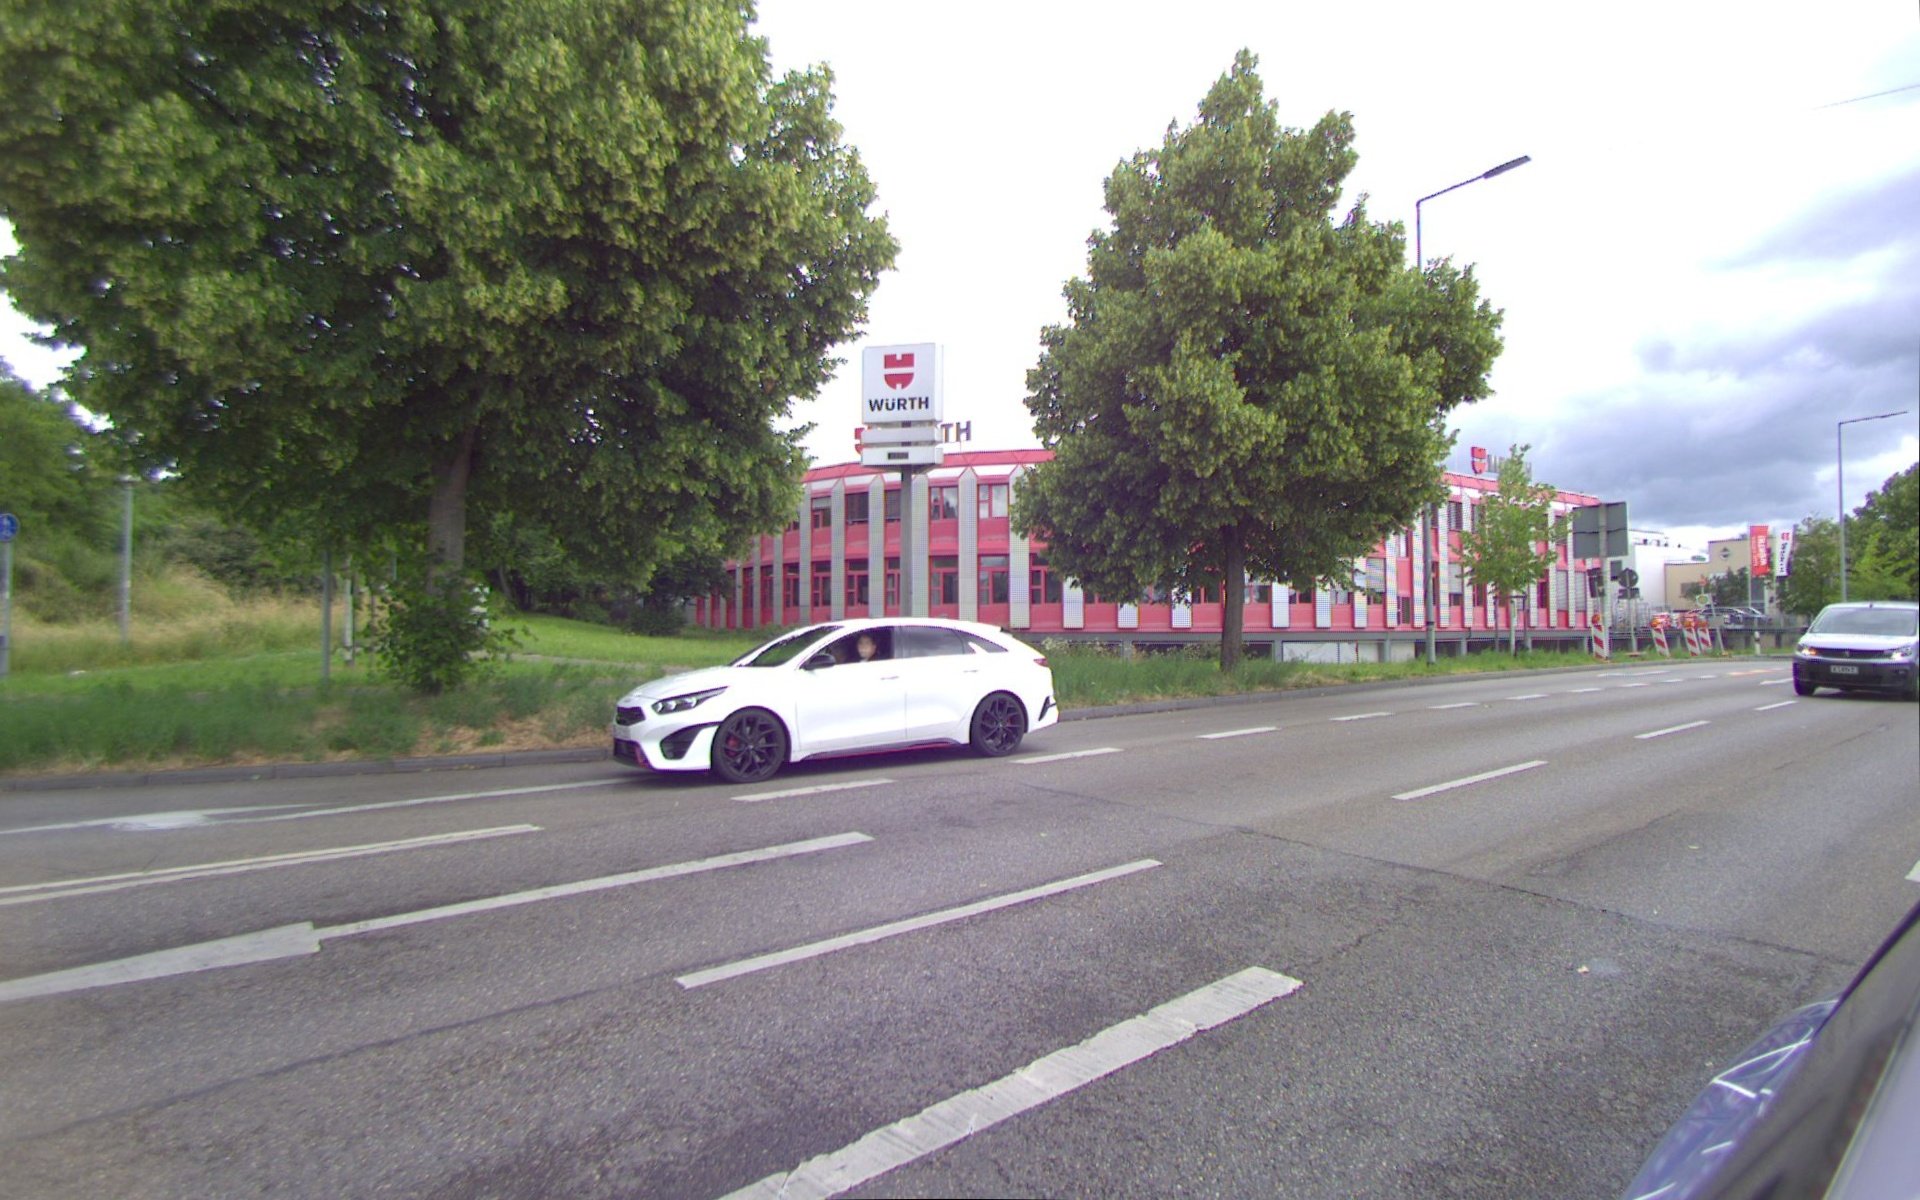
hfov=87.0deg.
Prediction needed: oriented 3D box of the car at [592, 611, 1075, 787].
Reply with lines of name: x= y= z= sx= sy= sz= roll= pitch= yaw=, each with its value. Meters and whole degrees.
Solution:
car: x=-1.122 y=0.800 z=9.936 sx=4.393 sy=1.380 sz=1.786 roll=1 pitch=-1 yaw=-34

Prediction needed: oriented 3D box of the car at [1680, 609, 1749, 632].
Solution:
car: x=61.804 y=1.690 z=82.962 sx=1.752 sy=1.776 sz=4.247 roll=0 pitch=0 yaw=-39

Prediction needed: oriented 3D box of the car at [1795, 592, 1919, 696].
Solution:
car: x=17.667 y=0.759 z=19.137 sx=4.170 sy=1.776 sz=1.784 roll=0 pitch=0 yaw=-34
